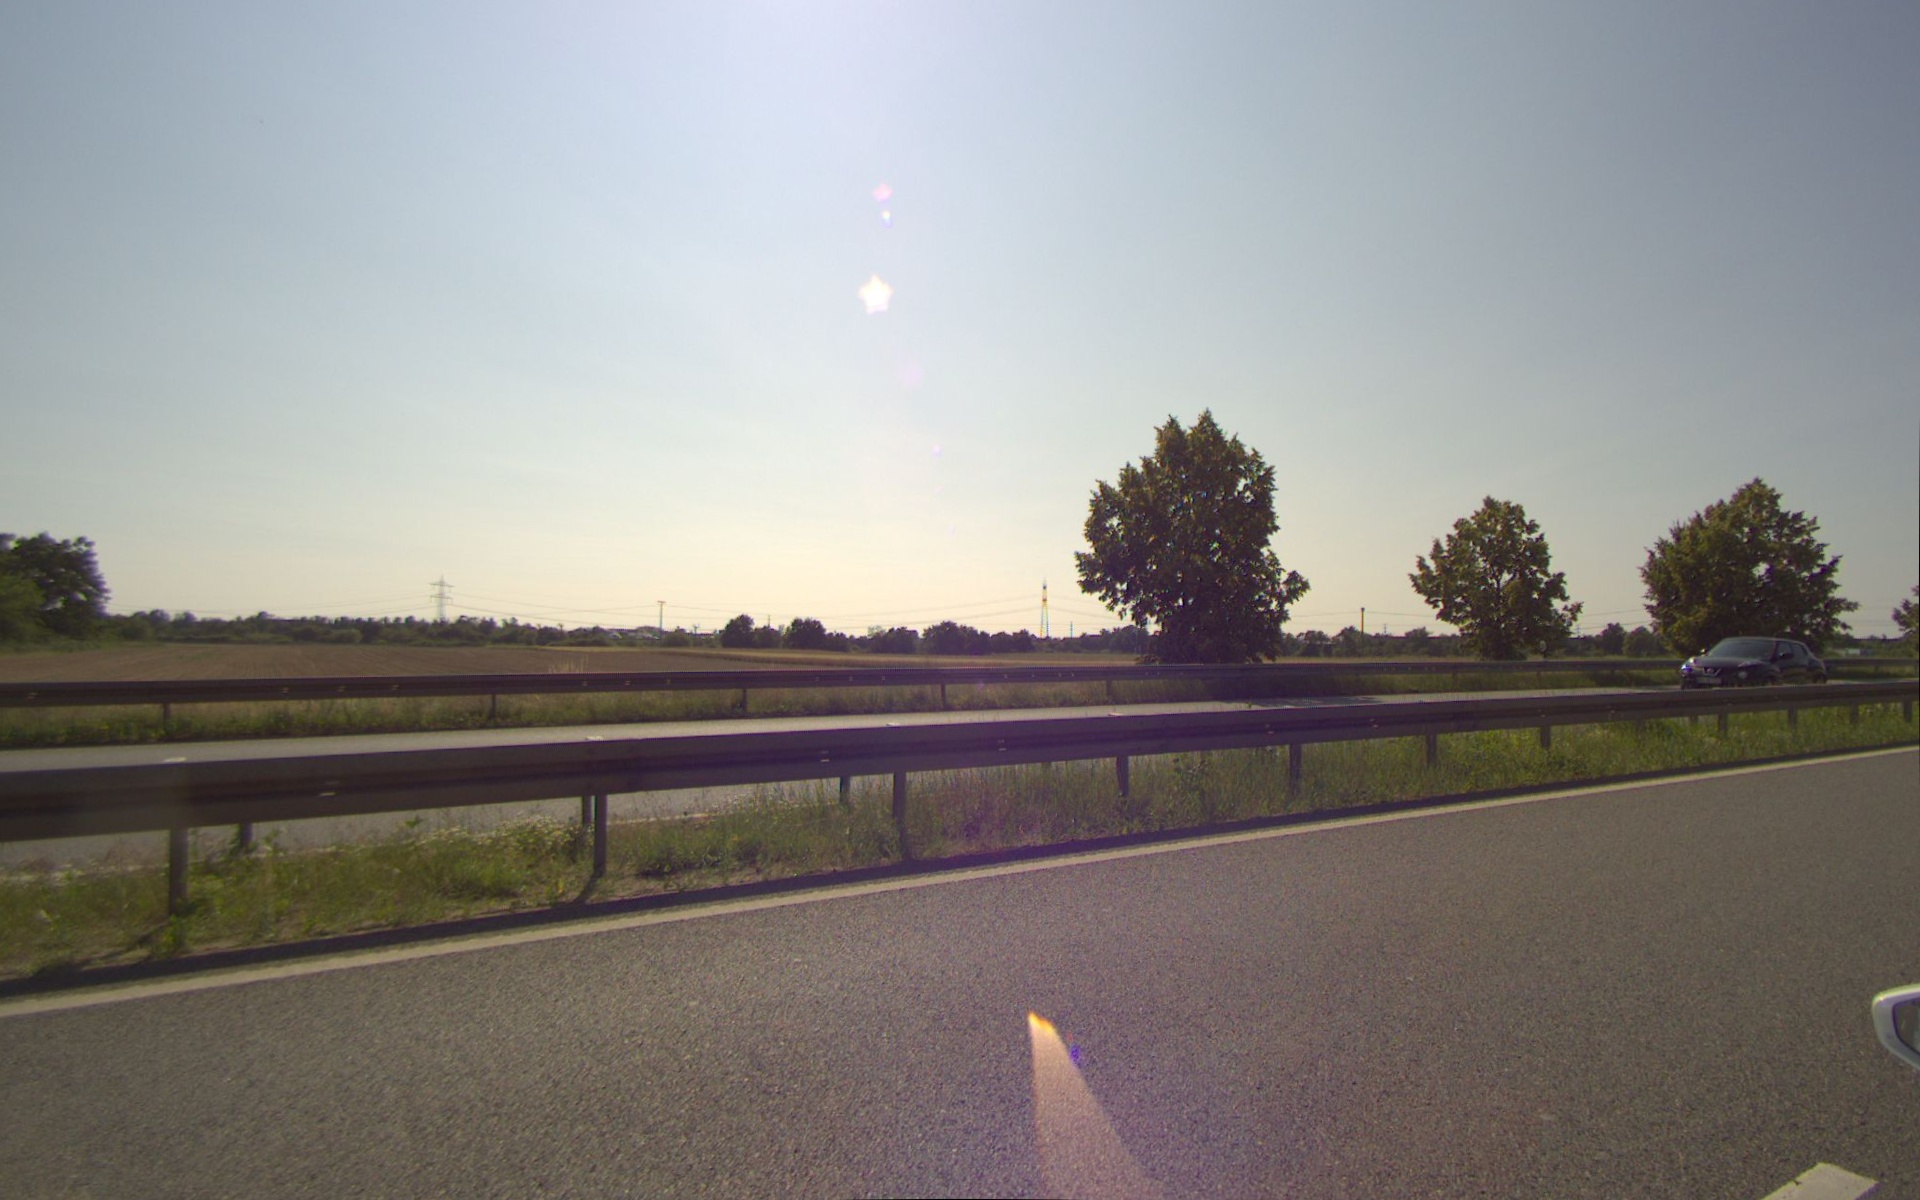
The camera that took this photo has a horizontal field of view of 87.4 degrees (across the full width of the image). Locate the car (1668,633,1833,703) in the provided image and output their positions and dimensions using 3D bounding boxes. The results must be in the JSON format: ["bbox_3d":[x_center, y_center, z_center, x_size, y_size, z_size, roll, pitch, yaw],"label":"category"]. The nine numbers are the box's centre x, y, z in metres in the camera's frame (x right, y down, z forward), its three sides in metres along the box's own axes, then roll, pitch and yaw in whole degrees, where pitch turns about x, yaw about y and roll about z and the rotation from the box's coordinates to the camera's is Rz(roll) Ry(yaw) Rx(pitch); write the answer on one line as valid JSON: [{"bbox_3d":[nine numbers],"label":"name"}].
[{"bbox_3d":[19.491,1.618,24.728,4.191,1.562,1.683,1,-1,-28],"label":"car"}]
